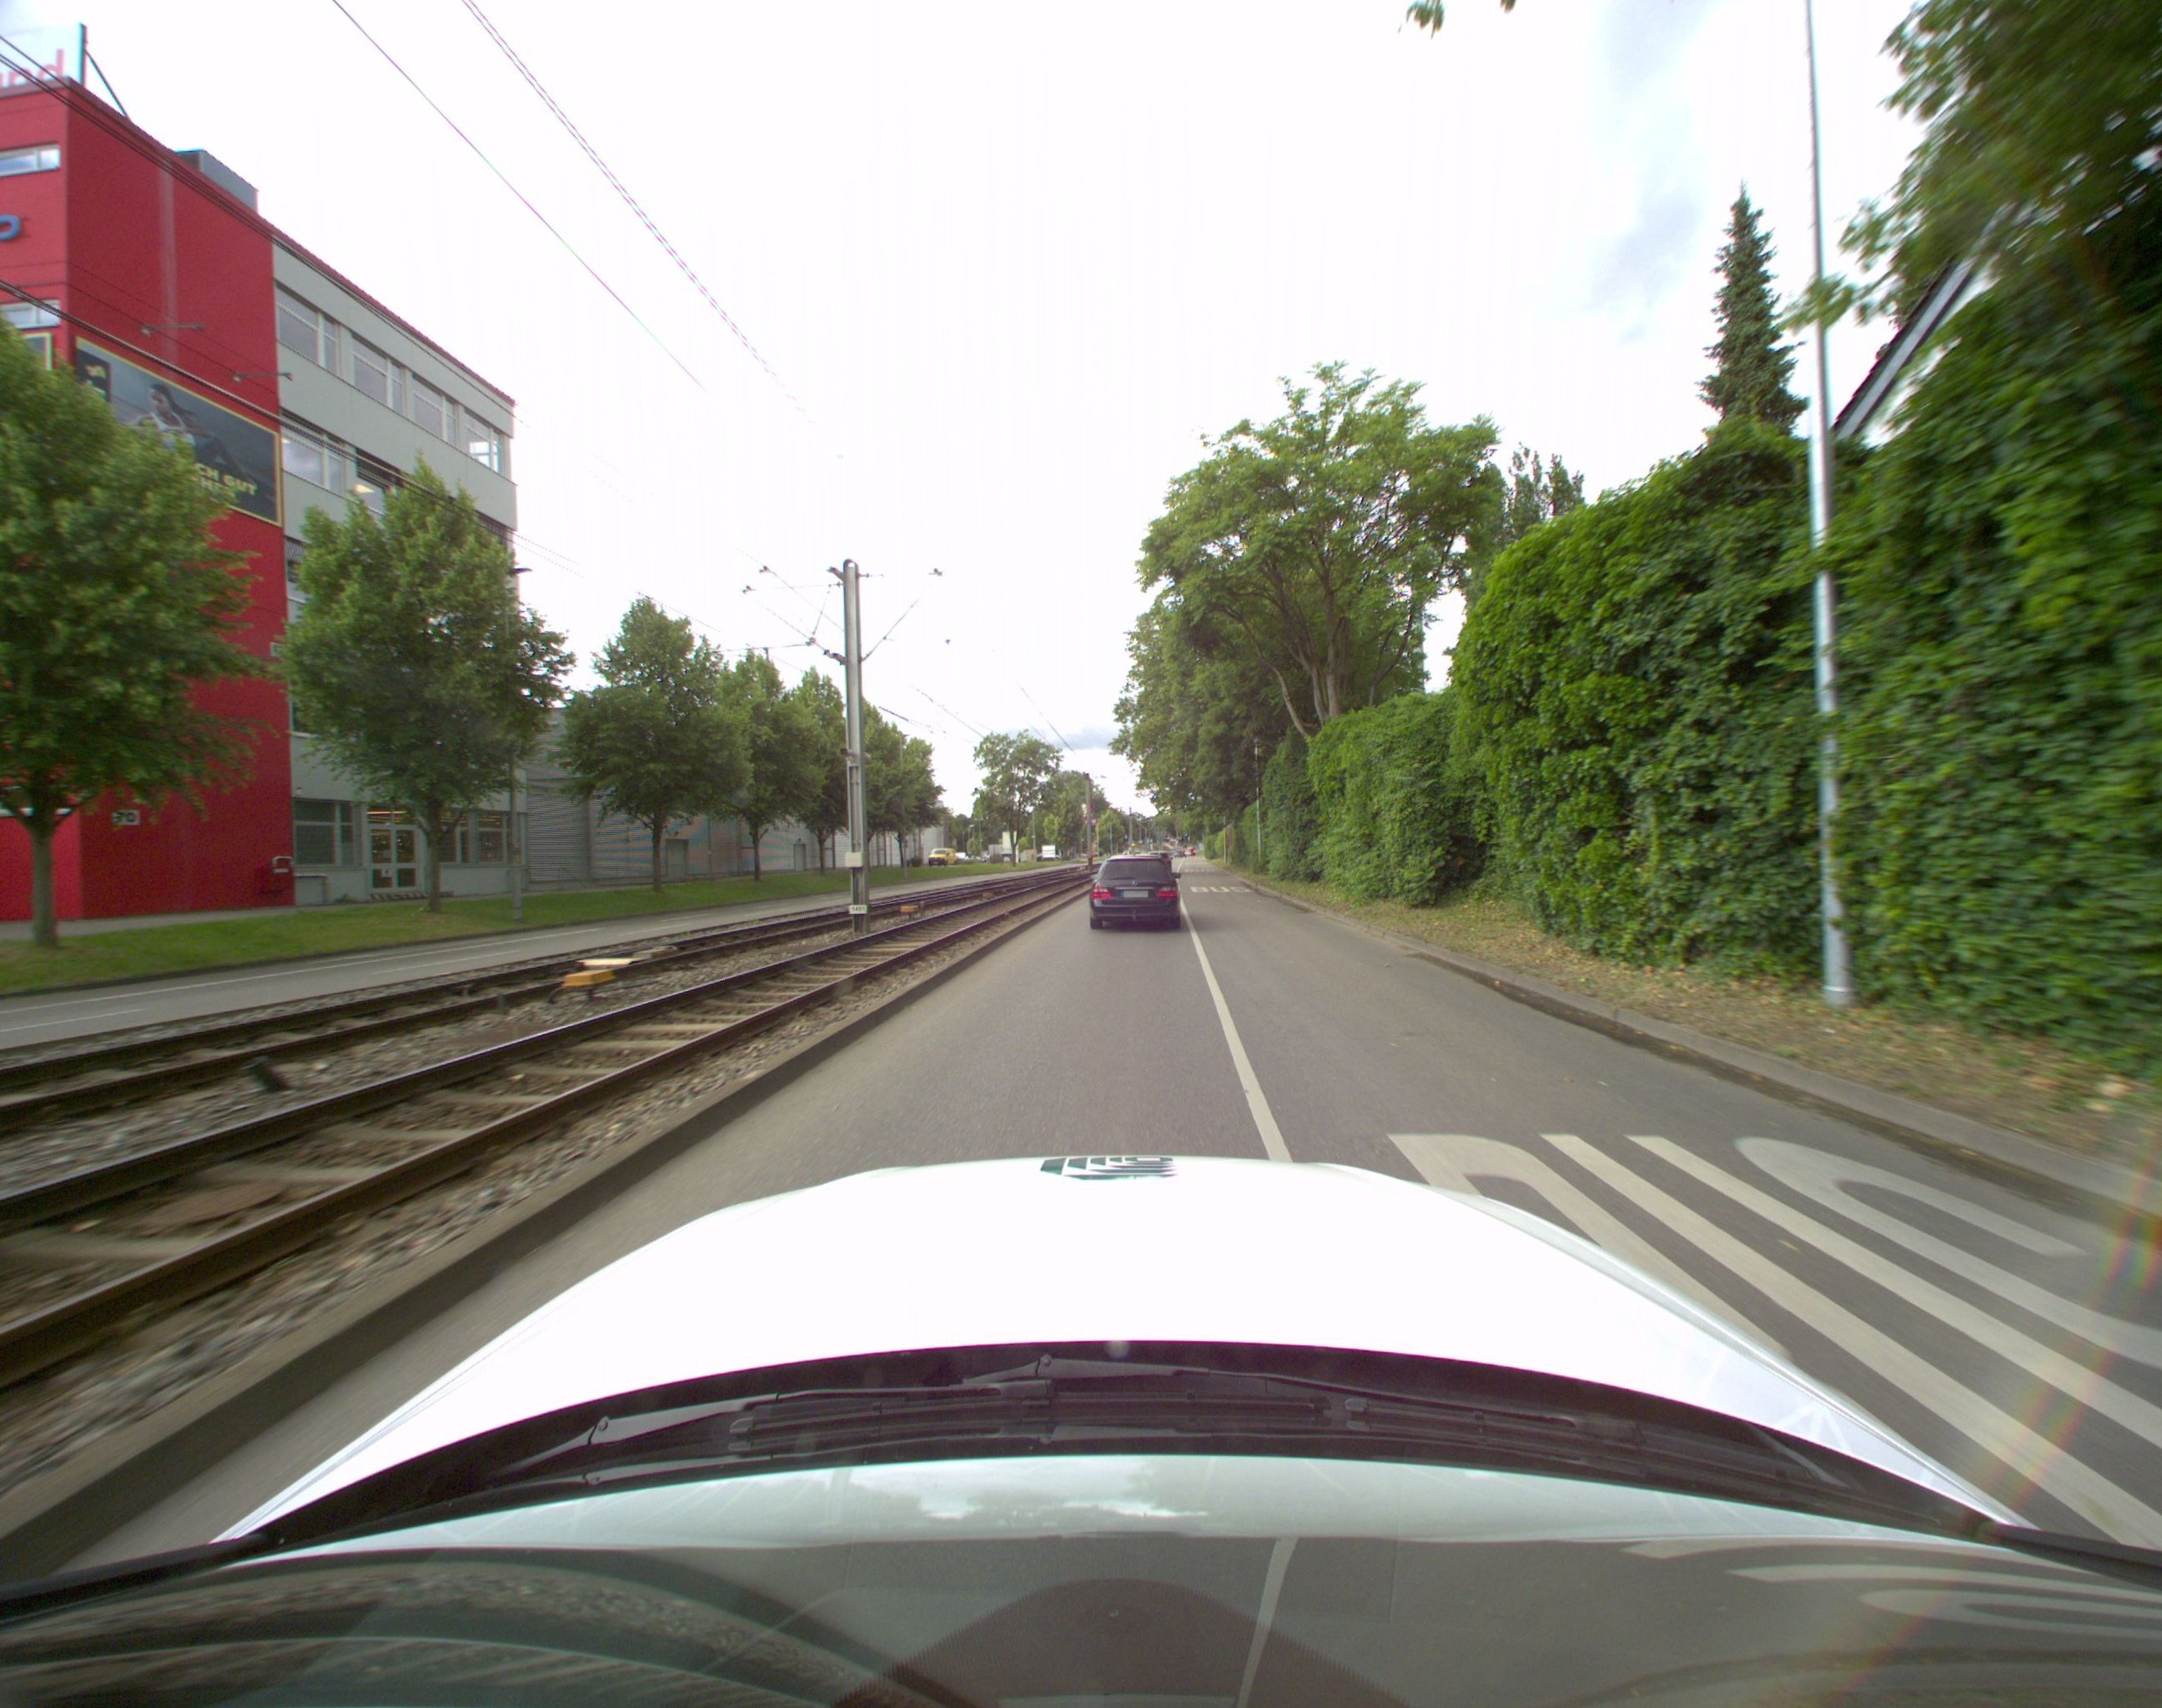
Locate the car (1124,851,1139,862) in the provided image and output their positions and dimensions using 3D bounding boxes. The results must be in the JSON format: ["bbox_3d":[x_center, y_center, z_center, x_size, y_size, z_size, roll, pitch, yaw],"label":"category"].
[{"bbox_3d":[6.769,0.317,109.443,1.816,1.530,3.992,-1,0,5],"label":"car"}]

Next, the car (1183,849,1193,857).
[{"bbox_3d":[21.997,-0.167,167.415,1.816,1.530,4.185,-1,0,5],"label":"car"}]

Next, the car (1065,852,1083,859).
[{"bbox_3d":[-1.590,0.289,191.264,3.967,1.644,2.003,-1,0,6],"label":"car"}]

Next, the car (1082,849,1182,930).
[{"bbox_3d":[1.106,0.668,17.329,1.825,1.478,4.420,-1,0,4],"label":"car"}]

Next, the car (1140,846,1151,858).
[{"bbox_3d":[11.844,-0.305,148.926,1.883,2.013,3.901,-4,-1,4],"label":"car"}]

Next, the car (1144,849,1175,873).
[{"bbox_3d":[5.170,0.446,54.126,1.818,1.530,4.419,-1,0,3],"label":"car"}]

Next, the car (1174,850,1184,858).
[{"bbox_3d":[19.065,-0.069,158.404,1.816,1.530,4.422,-1,0,5],"label":"car"}]

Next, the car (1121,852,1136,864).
[{"bbox_3d":[6.103,0.529,104.301,1.816,1.530,3.992,-1,0,5],"label":"car"}]

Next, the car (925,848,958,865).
[{"bbox_3d":[-14.822,0.282,86.602,1.983,1.743,4.998,-1,0,7],"label":"car"}]

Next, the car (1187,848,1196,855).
[{"bbox_3d":[27.444,-0.665,202.189,1.816,1.530,4.185,-1,0,5],"label":"car"}]

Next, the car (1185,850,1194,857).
[{"bbox_3d":[25.973,-0.100,194.645,1.816,1.530,4.185,-1,0,5],"label":"car"}]

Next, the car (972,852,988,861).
[{"bbox_3d":[-27.400,0.667,221.308,3.965,2.013,2.004,-4,-1,7],"label":"car"}]

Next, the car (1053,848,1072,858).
[{"bbox_3d":[-3.849,-0.197,168.082,3.686,1.816,1.792,-2,0,-5],"label":"car"}]

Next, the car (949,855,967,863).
[{"bbox_3d":[-28.821,1.146,190.952,3.973,1.680,2.001,-4,-1,1],"label":"car"}]

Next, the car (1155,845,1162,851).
[{"bbox_3d":[22.185,-1.675,232.116,1.833,1.644,3.890,-1,0,4],"label":"car"}]

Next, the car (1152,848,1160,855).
[{"bbox_3d":[17.221,-0.636,186.584,1.816,1.530,4.185,-1,0,5],"label":"car"}]

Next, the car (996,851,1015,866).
[{"bbox_3d":[-10.723,0.598,115.699,1.985,2.013,4.003,-4,-1,3],"label":"car"}]

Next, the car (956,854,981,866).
[{"bbox_3d":[-19.472,1.049,141.059,3.990,1.680,1.992,-4,-1,-12],"label":"car"}]

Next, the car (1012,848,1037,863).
[{"bbox_3d":[-9.504,0.271,136.322,3.976,2.123,1.999,-4,-1,-2],"label":"car"}]
